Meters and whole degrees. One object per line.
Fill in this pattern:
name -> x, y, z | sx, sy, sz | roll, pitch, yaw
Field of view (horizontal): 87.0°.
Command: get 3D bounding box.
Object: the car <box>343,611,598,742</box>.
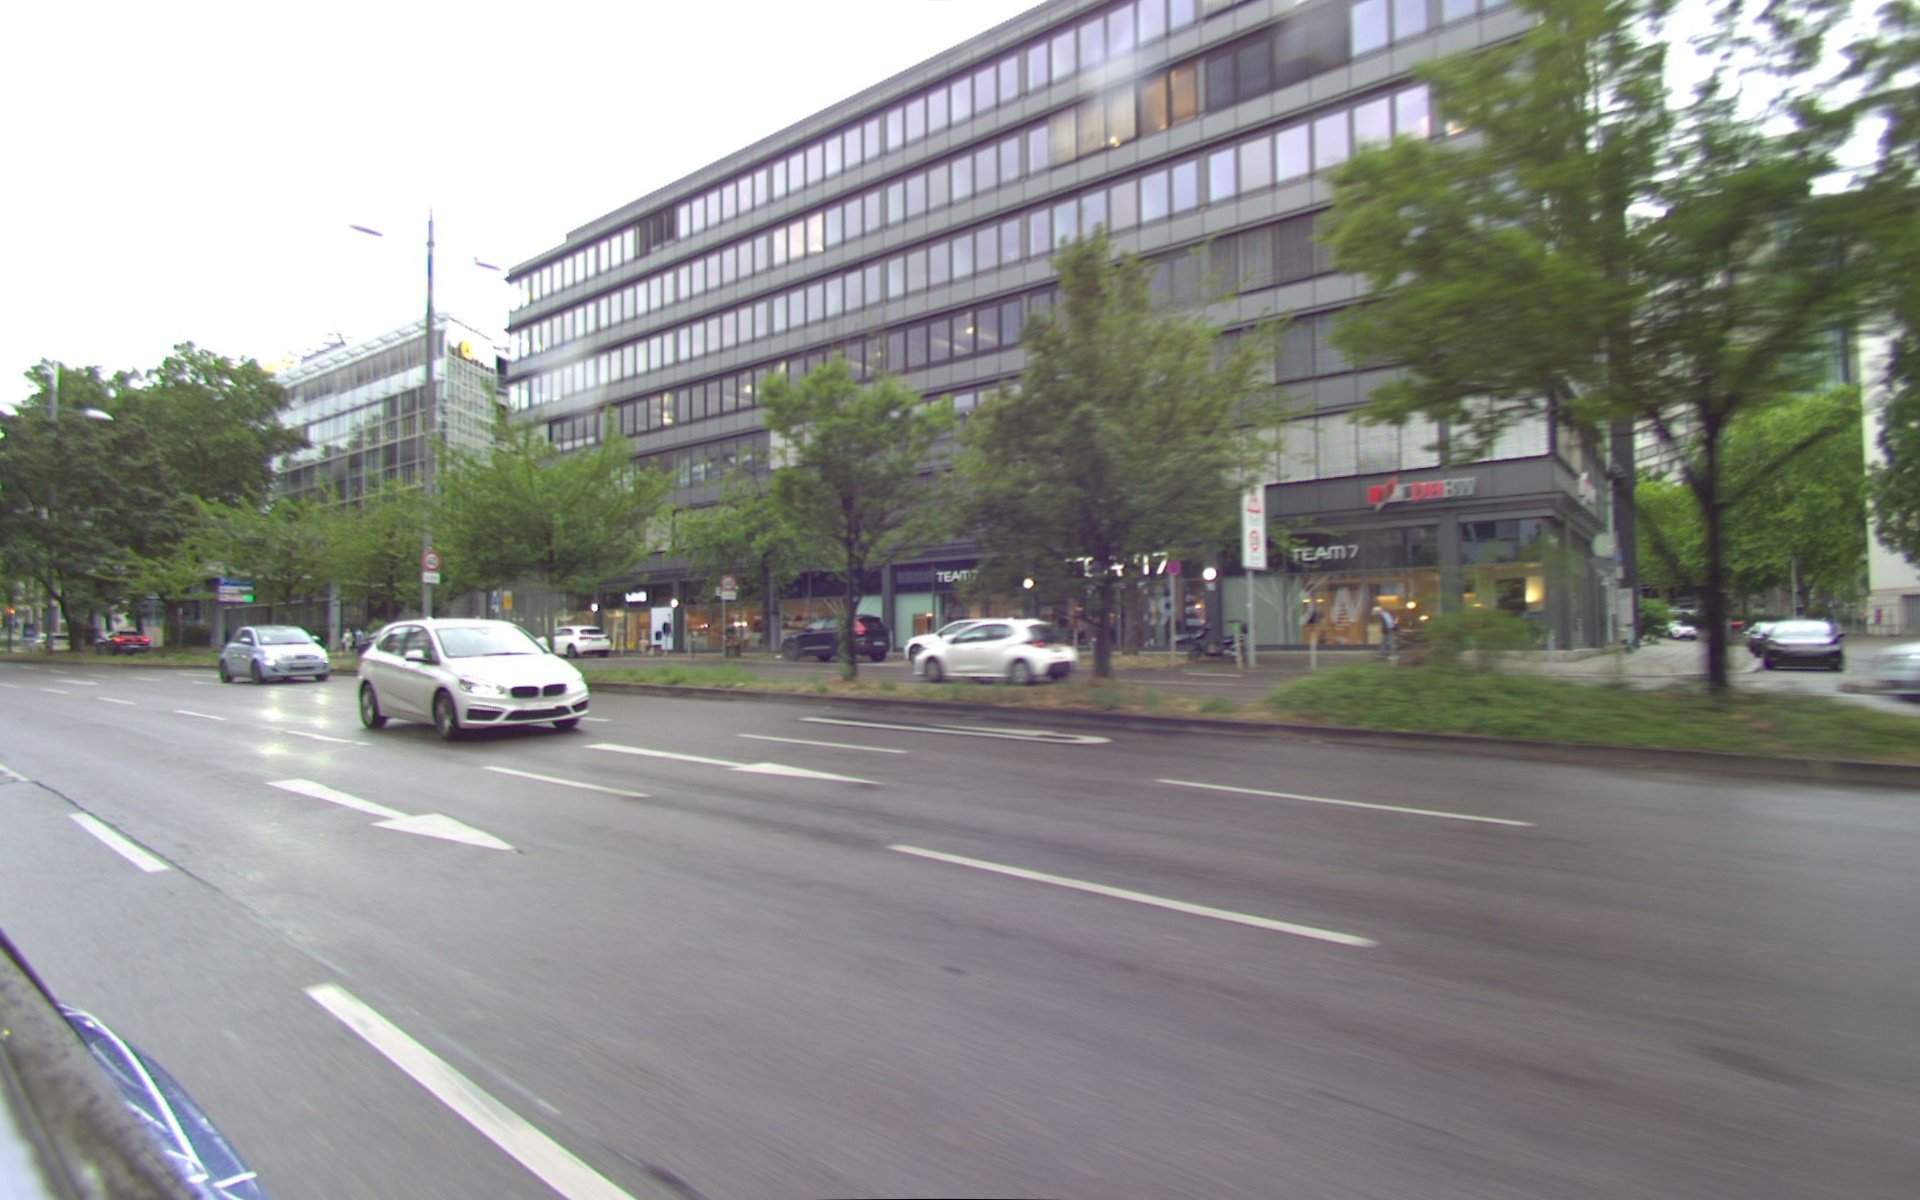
car -> -7.014, 0.983, 14.297 | 4.286, 1.585, 1.764 | -2, -2, 42

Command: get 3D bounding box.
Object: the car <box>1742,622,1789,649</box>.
car -> 42.904, 1.888, 53.960 | 1.844, 1.298, 3.949 | -1, -1, 37

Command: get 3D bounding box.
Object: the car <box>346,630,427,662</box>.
car -> -27.584, 2.186, 48.643 | 4.293, 1.487, 1.792 | -2, -2, 36

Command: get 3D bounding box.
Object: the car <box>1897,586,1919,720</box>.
car -> 14.586, 0.637, 12.409 | 4.494, 1.741, 1.718 | -2, -1, 43

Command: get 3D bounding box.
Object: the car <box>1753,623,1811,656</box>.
car -> 36.401, 1.713, 44.874 | 1.844, 1.298, 3.949 | -1, -1, 37

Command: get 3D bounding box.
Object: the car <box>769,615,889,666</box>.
car -> -4.686, 1.402, 35.860 | 4.306, 1.673, 1.790 | -2, -1, 40

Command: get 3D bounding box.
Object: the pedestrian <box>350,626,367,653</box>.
pedestrian -> -41.600, 2.701, 69.953 | 0.923, 1.846, 0.720 | -1, -1, 38

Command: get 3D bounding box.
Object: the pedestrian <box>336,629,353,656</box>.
pedestrian -> -42.160, 2.894, 69.340 | 0.923, 1.812, 0.720 | -1, -1, 38

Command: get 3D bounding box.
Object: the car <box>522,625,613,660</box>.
car -> -17.808, 1.910, 45.881 | 4.300, 1.455, 1.793 | -2, -1, 35

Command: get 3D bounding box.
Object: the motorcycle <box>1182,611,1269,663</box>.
motorcycle -> 7.609, 1.066, 29.123 | 2.345, 1.404, 0.856 | -1, 2, 12

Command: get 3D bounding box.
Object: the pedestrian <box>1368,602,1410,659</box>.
pedestrian -> 12.833, 0.907, 30.284 | 0.964, 1.650, 0.776 | -2, -2, 38

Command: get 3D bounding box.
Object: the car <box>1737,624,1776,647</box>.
car -> 49.814, 2.181, 63.369 | 1.844, 1.298, 3.949 | -1, -1, 37

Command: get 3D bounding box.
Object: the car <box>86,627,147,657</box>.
car -> -52.775, 2.594, 63.294 | 4.709, 1.527, 1.792 | 3, 1, 36

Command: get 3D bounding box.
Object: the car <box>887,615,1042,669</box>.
car -> 0.082, 1.288, 31.995 | 4.767, 1.496, 1.791 | -2, 2, 39

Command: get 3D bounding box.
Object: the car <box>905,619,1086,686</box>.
car -> 0.793, 1.204, 23.948 | 4.076, 1.442, 1.667 | -2, -1, 37

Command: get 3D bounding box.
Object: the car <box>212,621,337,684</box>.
car -> -18.542, 1.387, 27.338 | 3.686, 1.585, 1.766 | -2, -2, 38

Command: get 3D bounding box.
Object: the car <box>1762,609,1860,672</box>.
car -> 24.532, 1.113, 29.302 | 1.997, 1.652, 3.949 | -1, -1, 38

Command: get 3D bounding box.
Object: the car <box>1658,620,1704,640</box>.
car -> 58.115, 2.425, 81.649 | 1.795, 1.464, 3.977 | -1, 0, 17

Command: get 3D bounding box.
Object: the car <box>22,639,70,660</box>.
car -> -65.901, 3.526, 72.974 | 4.304, 1.445, 1.712 | -2, -2, 36
